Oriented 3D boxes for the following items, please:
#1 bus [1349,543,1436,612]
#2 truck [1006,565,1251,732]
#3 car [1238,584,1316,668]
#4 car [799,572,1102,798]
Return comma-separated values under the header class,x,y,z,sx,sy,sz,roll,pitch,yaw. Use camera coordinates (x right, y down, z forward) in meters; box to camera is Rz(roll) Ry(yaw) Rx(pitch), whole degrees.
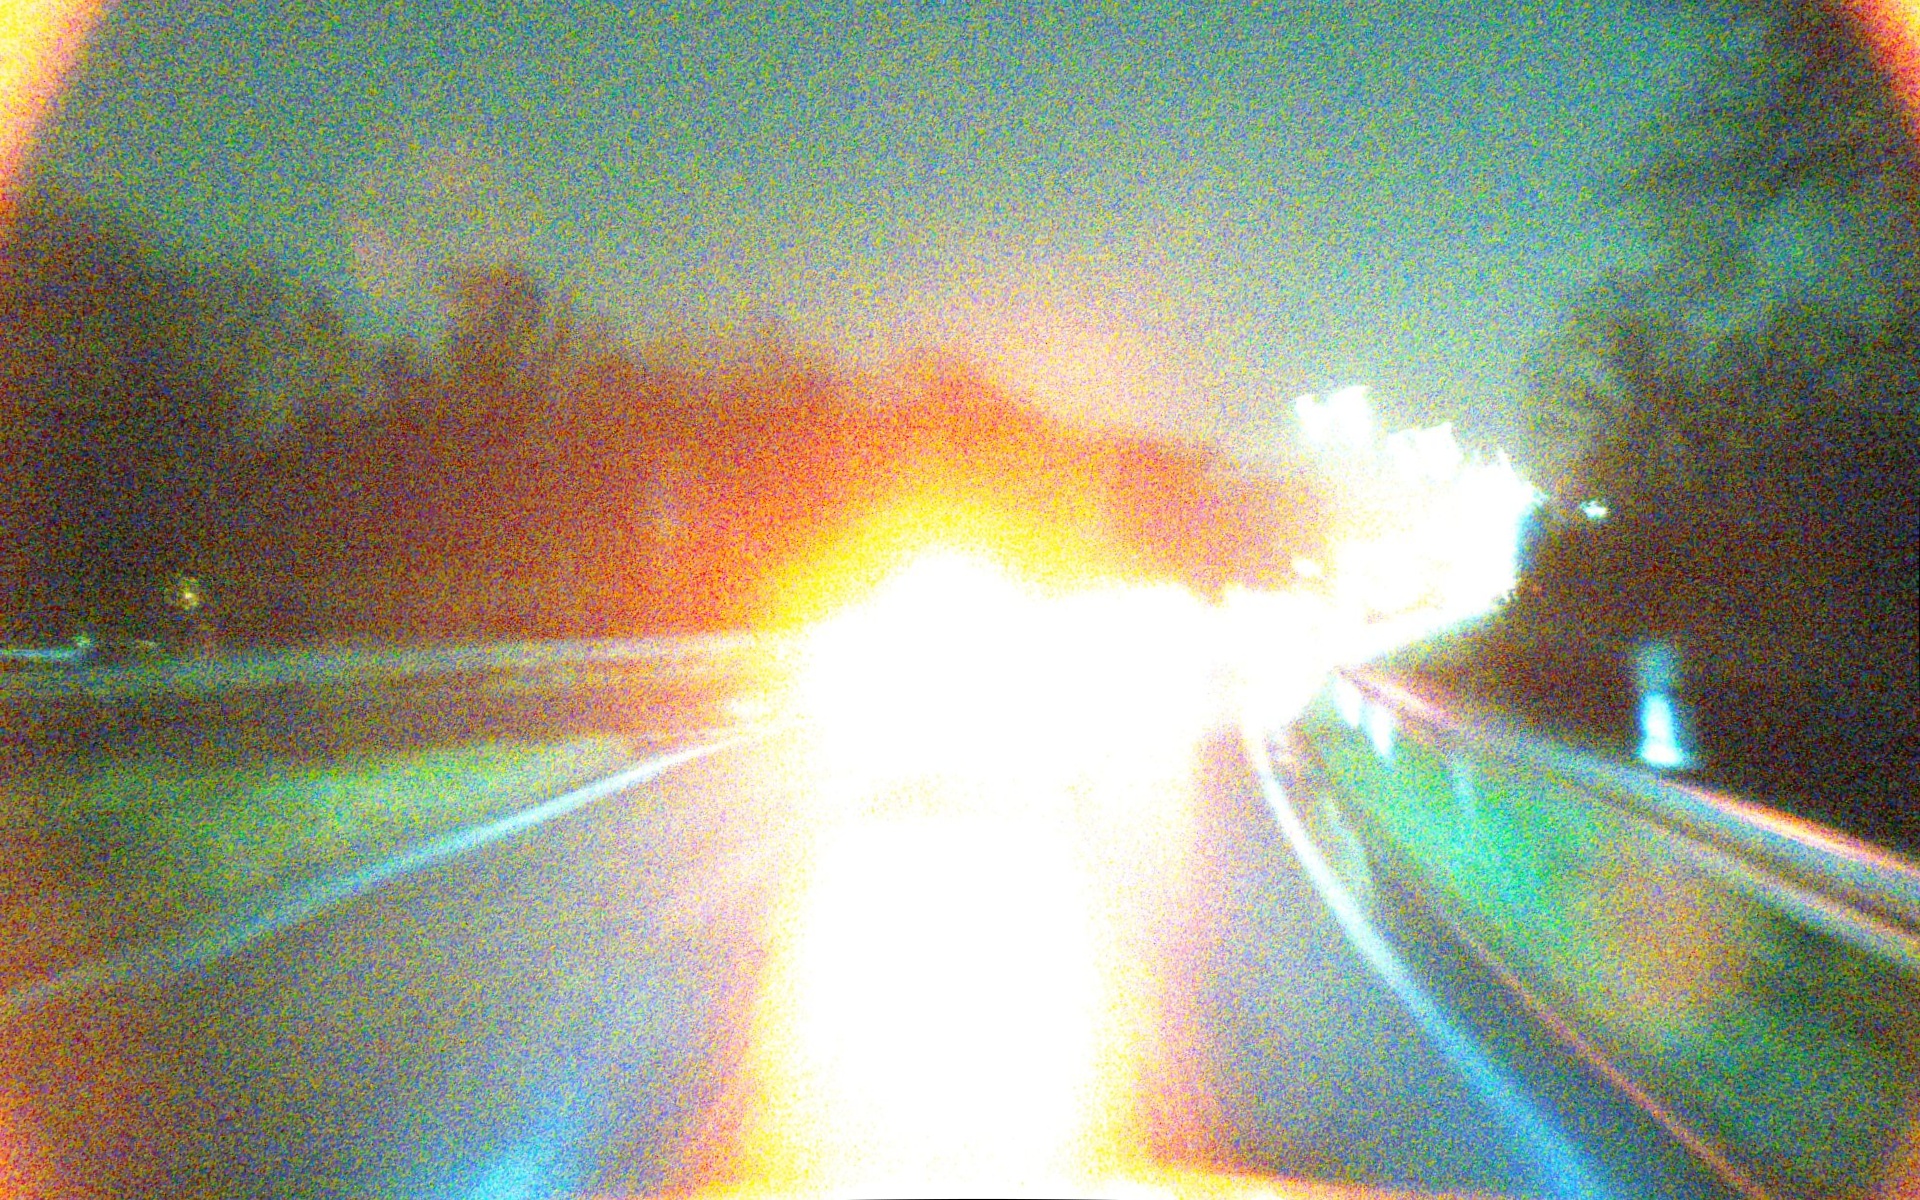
class,x,y,z,sx,sy,sz,roll,pitch,yaw
bus,21.310,-1.110,81.139,2.689,3.178,9.197,0,1,24
truck,3.227,0.779,29.447,3.005,2.573,7.170,1,-1,17
car,7.990,0.645,41.500,1.797,1.982,4.003,1,-1,12
car,0.085,0.587,13.025,1.903,1.517,3.719,-1,0,7
